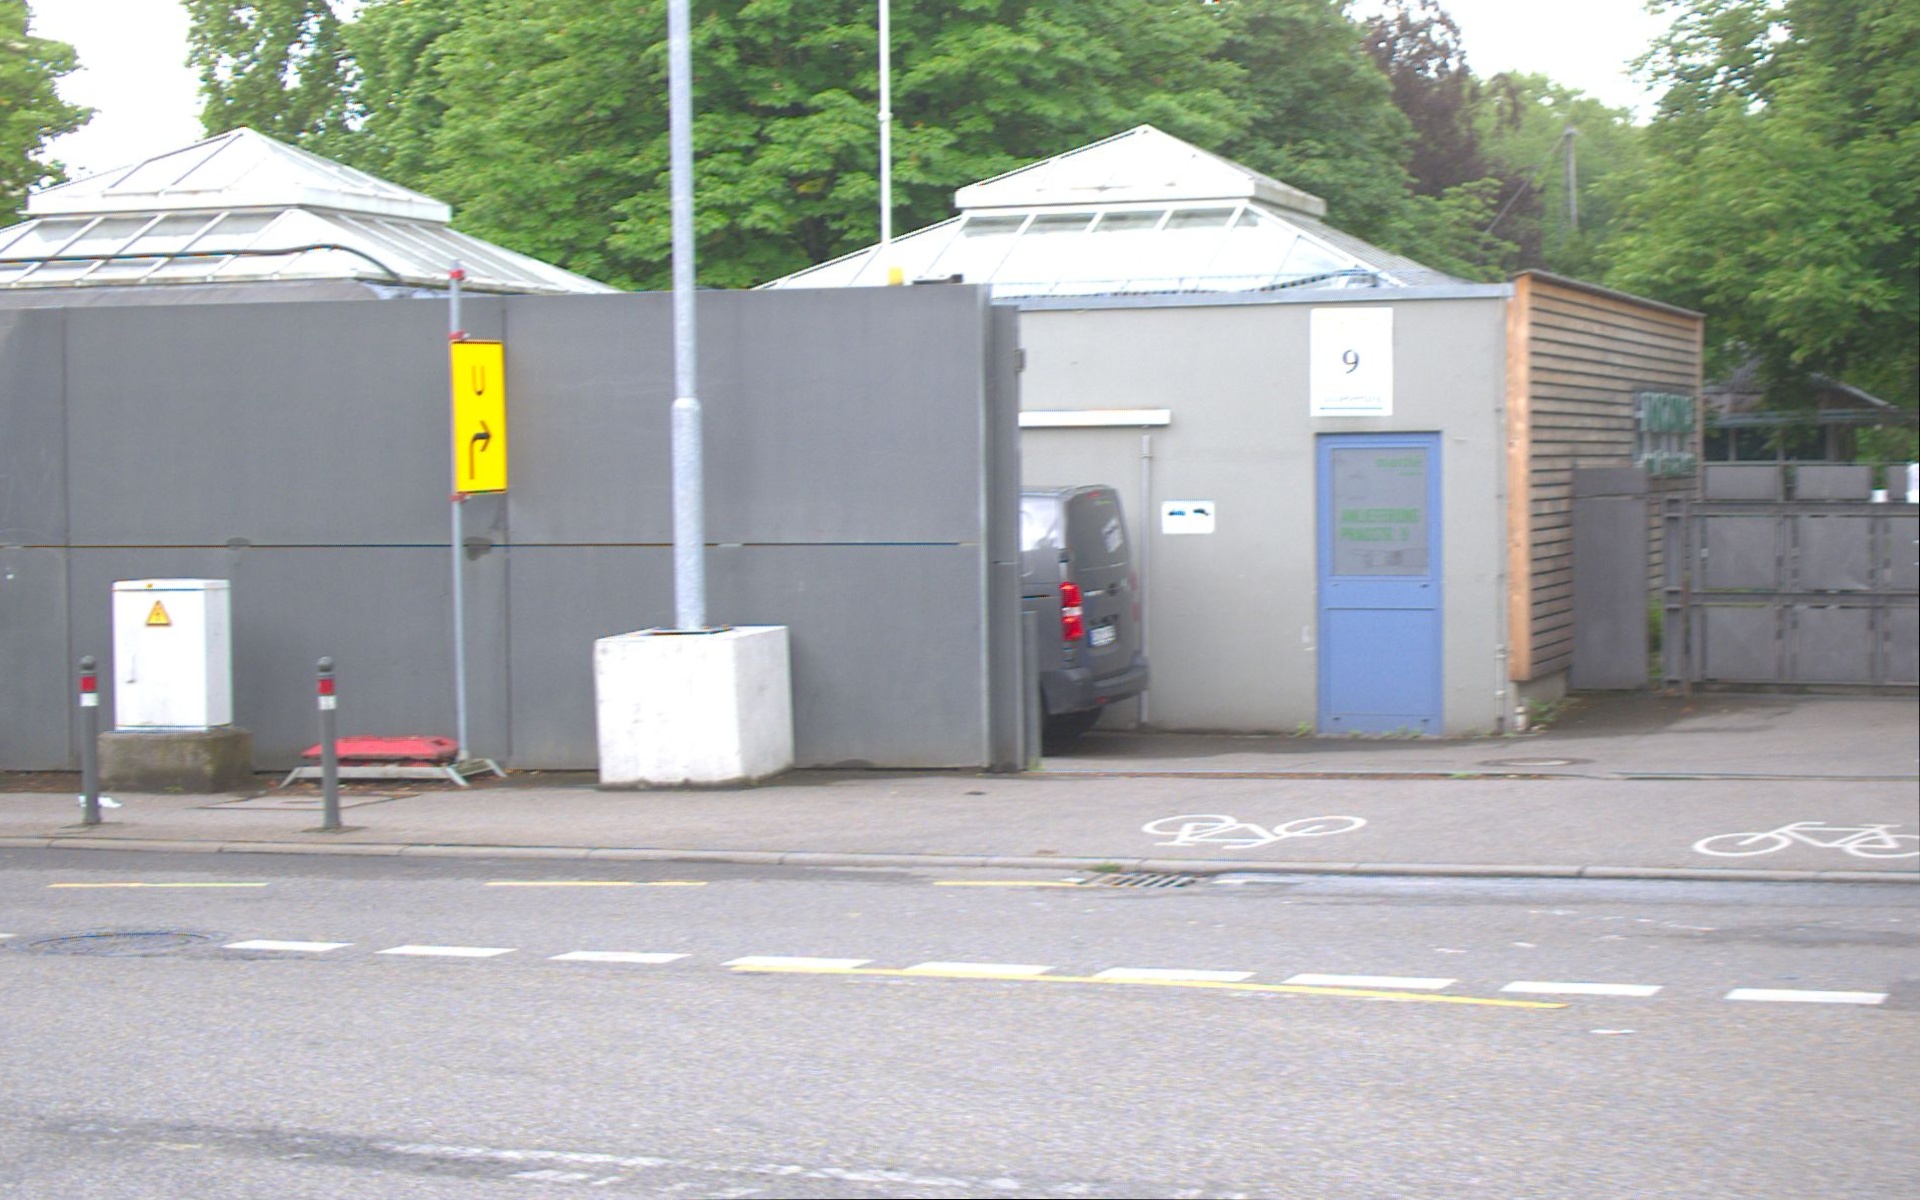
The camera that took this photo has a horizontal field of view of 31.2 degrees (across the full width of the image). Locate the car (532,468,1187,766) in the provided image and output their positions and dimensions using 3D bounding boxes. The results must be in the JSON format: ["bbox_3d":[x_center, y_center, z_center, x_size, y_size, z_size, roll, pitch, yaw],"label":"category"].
[{"bbox_3d":[-0.721,0.072,25.671,4.448,2.077,2.103,1,1,18],"label":"car"}]
